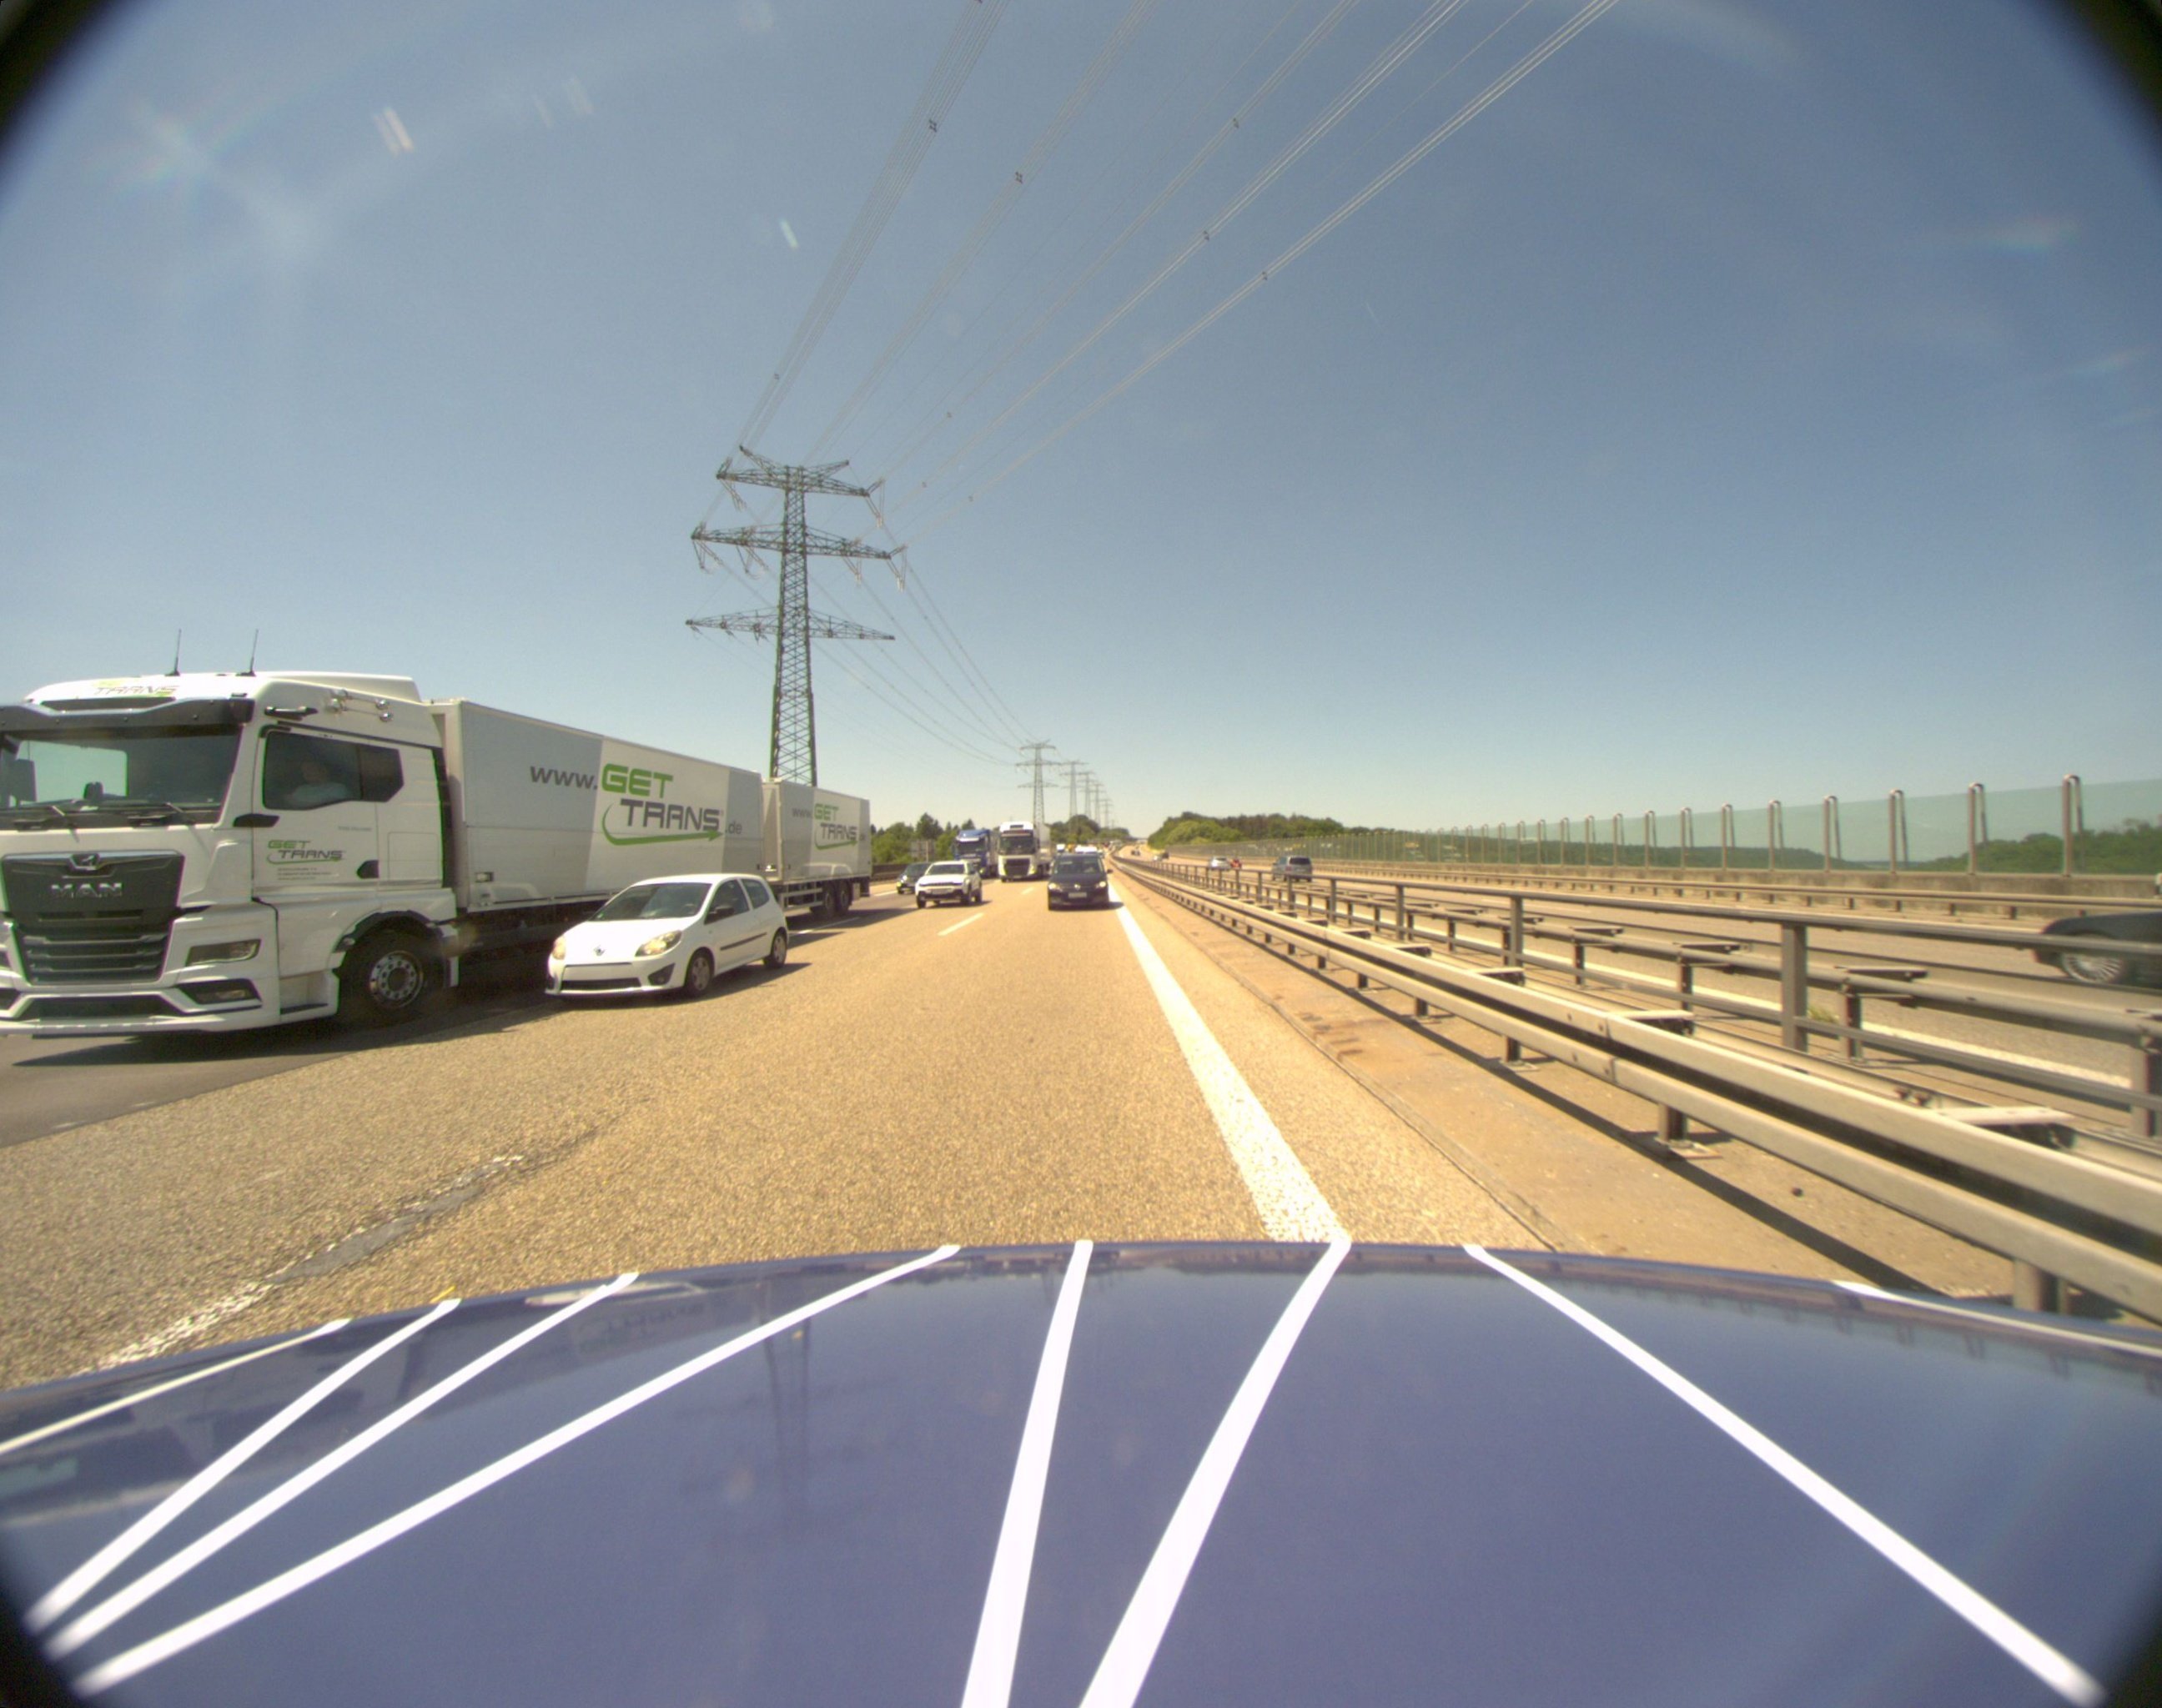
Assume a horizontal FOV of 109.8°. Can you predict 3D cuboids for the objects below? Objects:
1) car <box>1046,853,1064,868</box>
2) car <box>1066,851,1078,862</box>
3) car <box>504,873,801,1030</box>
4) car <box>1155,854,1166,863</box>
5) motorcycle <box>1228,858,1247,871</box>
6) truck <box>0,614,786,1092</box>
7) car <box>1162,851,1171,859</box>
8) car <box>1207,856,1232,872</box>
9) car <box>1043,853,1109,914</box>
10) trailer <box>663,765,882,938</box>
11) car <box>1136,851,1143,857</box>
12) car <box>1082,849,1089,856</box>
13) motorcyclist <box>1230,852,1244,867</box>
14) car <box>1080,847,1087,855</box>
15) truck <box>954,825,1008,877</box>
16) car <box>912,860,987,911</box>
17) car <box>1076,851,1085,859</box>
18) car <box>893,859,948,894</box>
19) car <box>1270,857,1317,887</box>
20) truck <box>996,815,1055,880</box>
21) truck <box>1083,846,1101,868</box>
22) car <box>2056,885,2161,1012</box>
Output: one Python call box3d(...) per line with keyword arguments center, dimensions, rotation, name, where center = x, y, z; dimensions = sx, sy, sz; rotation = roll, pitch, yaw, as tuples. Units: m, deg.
box3d(center=(-3.020, 0.713, 88.918), dimensions=(1.821, 1.569, 4.000), rotation=(-2, 0, 1), name="car")
box3d(center=(-1.509, 0.403, 125.309), dimensions=(1.821, 1.569, 4.000), rotation=(-2, 0, 1), name="car")
box3d(center=(-5.329, 1.102, 10.108), dimensions=(1.659, 1.501, 3.825), rotation=(-2, 0, 1), name="car")
box3d(center=(16.779, 0.911, 160.360), dimensions=(1.820, 1.645, 4.000), rotation=(-2, 0, 1), name="car")
box3d(center=(18.807, 1.255, 91.492), dimensions=(1.490, 1.468, 3.382), rotation=(-1, 0, 0), name="motorcycle")
box3d(center=(-8.384, 0.025, 11.999), dimensions=(2.695, 3.907, 11.298), rotation=(-2, 0, 1), name="truck")
box3d(center=(21.819, 0.299, 194.968), dimensions=(1.820, 1.824, 4.000), rotation=(-2, 0, 1), name="car")
box3d(center=(14.057, 1.017, 77.327), dimensions=(1.735, 1.481, 4.124), rotation=(-2, 0, 1), name="car")
box3d(center=(-0.085, 0.815, 22.971), dimensions=(1.748, 1.569, 4.000), rotation=(-2, 0, 1), name="car")
box3d(center=(-8.194, -0.049, 21.550), dimensions=(2.752, 3.918, 7.774), rotation=(-2, 0, 1), name="trailer")
box3d(center=(20.250, -0.088, 261.982), dimensions=(1.821, 1.824, 3.999), rotation=(-2, 0, -1), name="car")
box3d(center=(1.137, -0.411, 191.114), dimensions=(1.821, 1.569, 4.000), rotation=(-2, 0, 1), name="car")
box3d(center=(18.782, 0.648, 91.548), dimensions=(1.379, 1.675, 1.133), rotation=(-2, 1, -1), name="motorcyclist")
box3d(center=(0.702, -0.855, 213.840), dimensions=(1.998, 2.002, 4.000), rotation=(-2, 1, 1), name="car")
box3d(center=(-8.144, -0.241, 63.403), dimensions=(2.840, 3.858, 11.273), rotation=(-2, 0, 0), name="truck")
box3d(center=(-4.511, 1.045, 26.579), dimensions=(1.776, 1.521, 3.851), rotation=(-2, 0, 1), name="car")
box3d(center=(-0.103, 0.165, 161.828), dimensions=(1.821, 1.569, 4.000), rotation=(-2, 0, 1), name="car")
box3d(center=(-8.021, 1.099, 38.305), dimensions=(1.821, 1.569, 4.000), rotation=(-2, 0, 1), name="car")
box3d(center=(13.060, 1.080, 46.991), dimensions=(1.786, 1.692, 4.154), rotation=(0, 1, 1), name="car")
box3d(center=(-3.815, -0.388, 55.880), dimensions=(2.717, 4.014, 14.257), rotation=(-2, 0, 1), name="truck")
box3d(center=(1.491, 0.410, 104.595), dimensions=(2.309, 2.789, 5.110), rotation=(-2, 1, 1), name="truck")
box3d(center=(12.383, 1.053, 6.819), dimensions=(1.765, 1.312, 4.270), rotation=(1, 0, 1), name="car")
